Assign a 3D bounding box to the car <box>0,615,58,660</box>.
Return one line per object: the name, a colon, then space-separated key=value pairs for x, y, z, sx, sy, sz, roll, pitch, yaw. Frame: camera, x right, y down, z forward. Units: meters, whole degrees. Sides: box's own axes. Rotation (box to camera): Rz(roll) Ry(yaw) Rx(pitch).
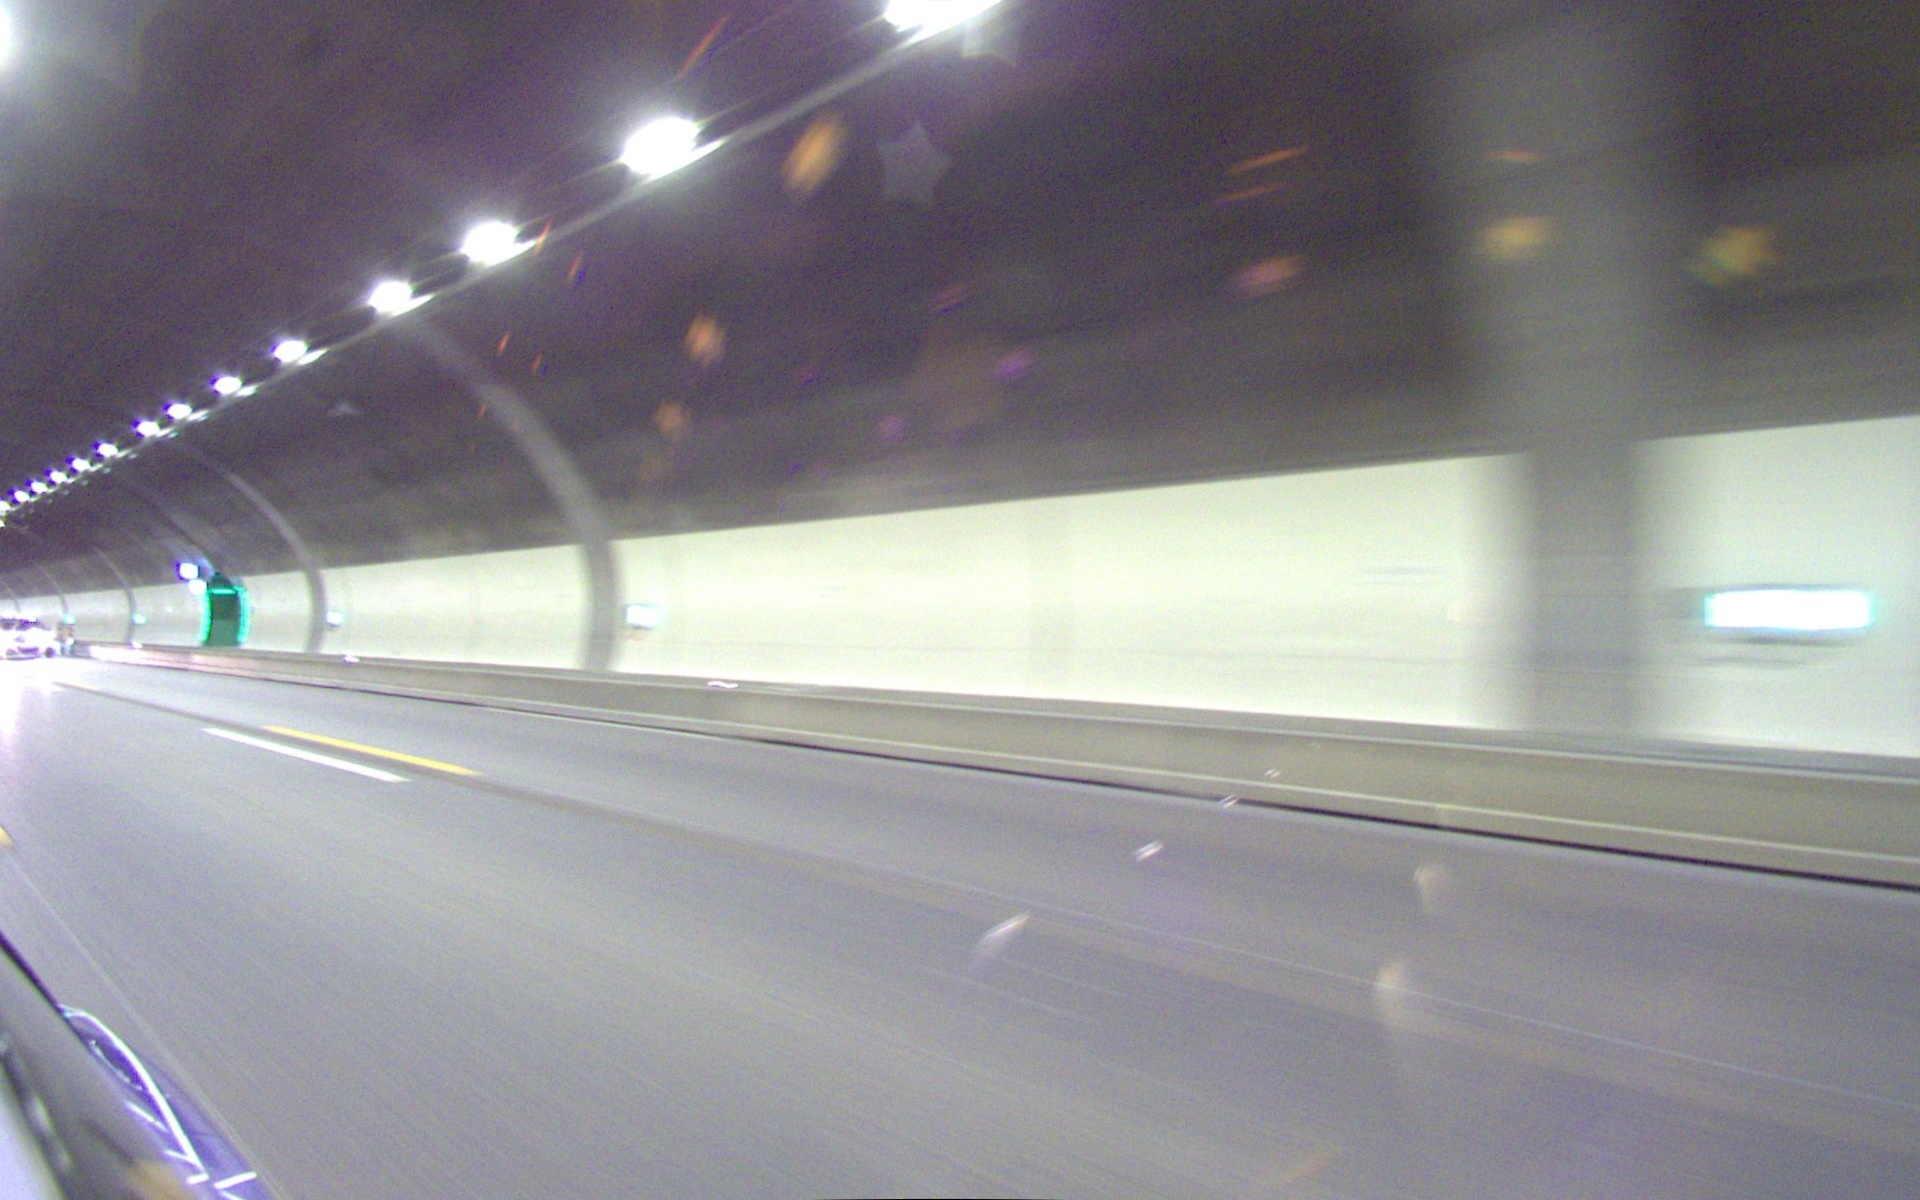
car: x=-35.030 y=1.360 z=37.599 sx=4.095 sy=1.584 sz=1.744 roll=-1 pitch=-1 yaw=41
